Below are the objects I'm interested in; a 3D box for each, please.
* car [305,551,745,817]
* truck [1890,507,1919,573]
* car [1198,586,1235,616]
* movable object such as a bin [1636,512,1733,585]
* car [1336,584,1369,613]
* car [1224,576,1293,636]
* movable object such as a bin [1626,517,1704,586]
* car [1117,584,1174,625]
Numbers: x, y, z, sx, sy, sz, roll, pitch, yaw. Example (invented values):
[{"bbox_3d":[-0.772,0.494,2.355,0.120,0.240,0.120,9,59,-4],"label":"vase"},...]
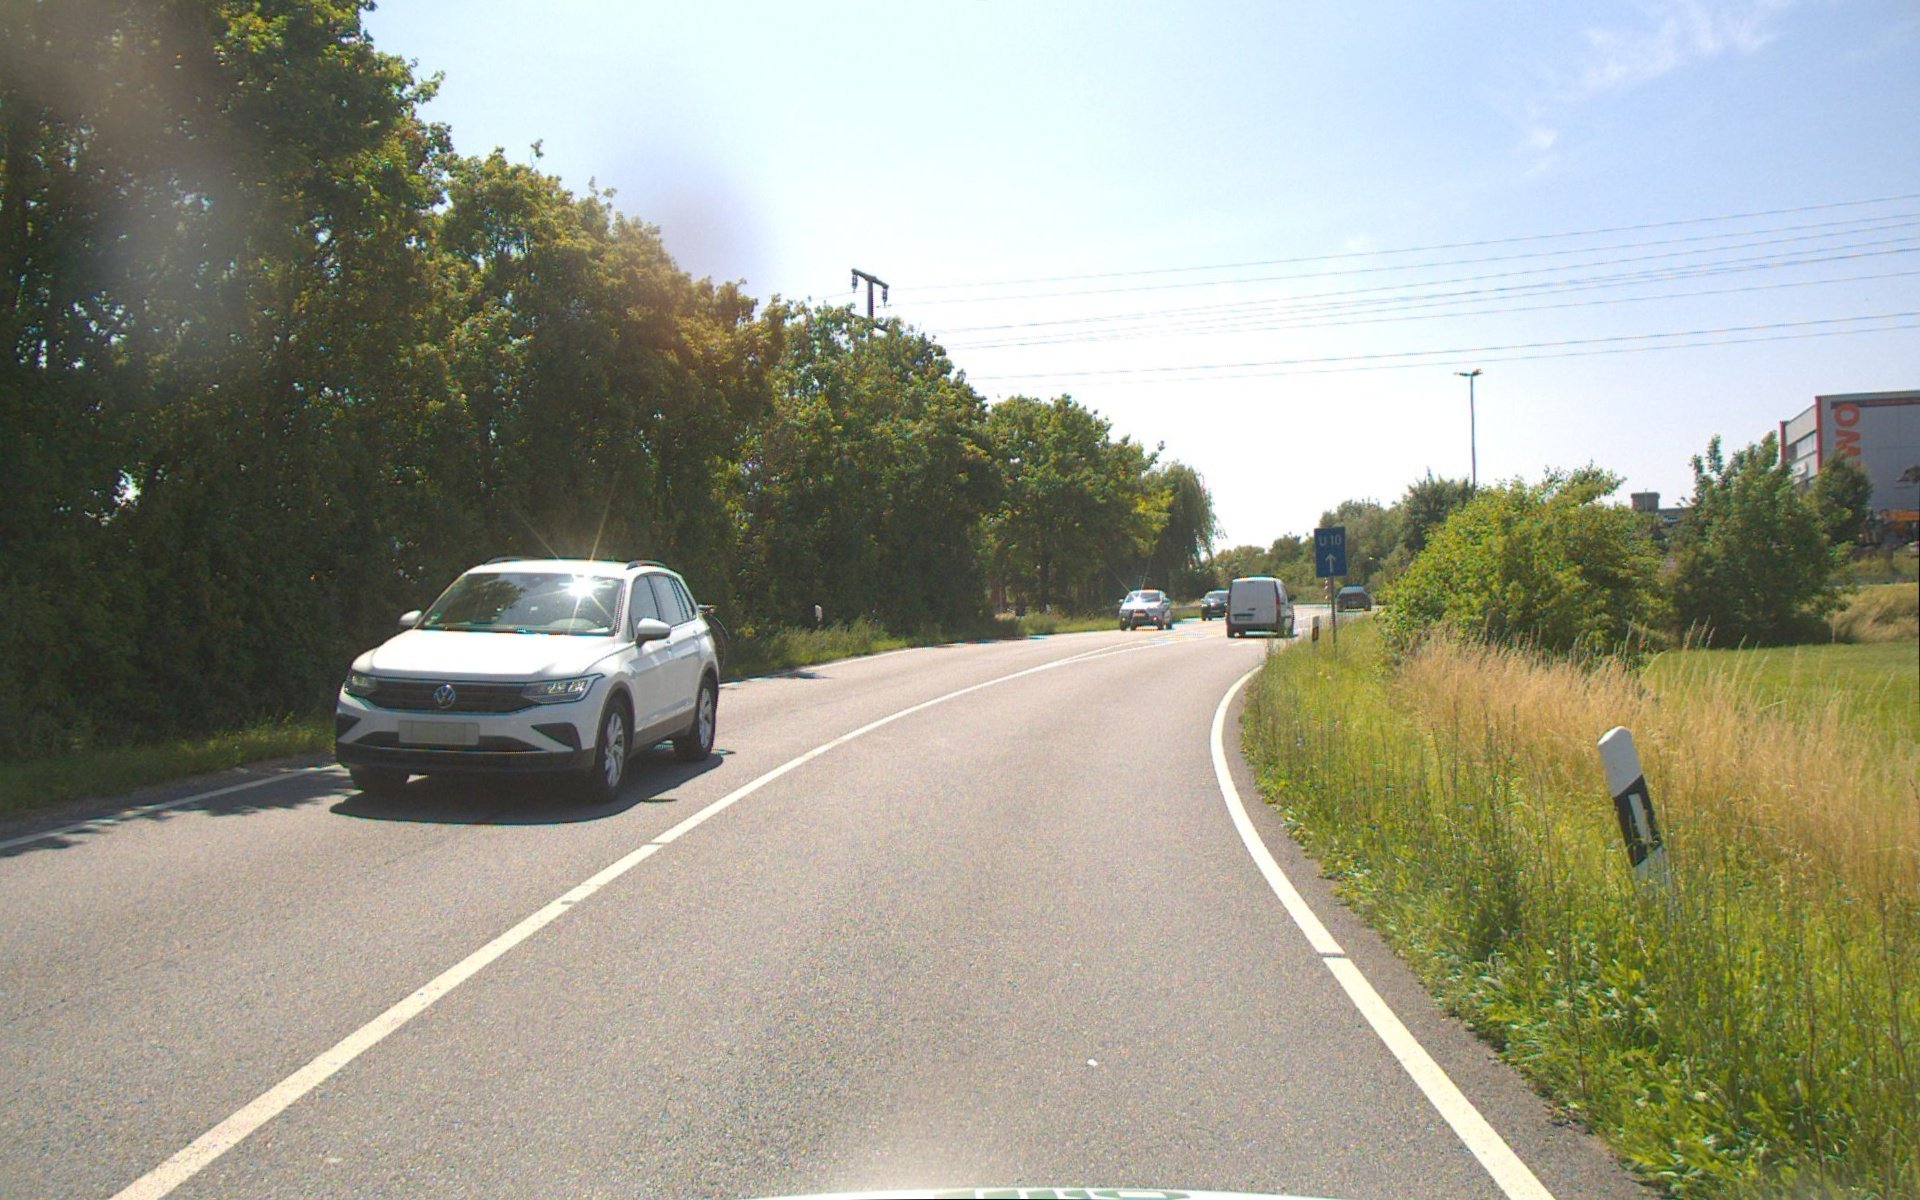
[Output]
[{"bbox_3d":[-3.055,0.516,12.800,1.816,1.629,4.780,1,0,4],"label":"car"},{"bbox_3d":[53.233,-3.069,85.397,8.590,3.192,3.109,0,-2,4],"label":"truck"},{"bbox_3d":[14.092,0.053,90.804,1.695,1.618,3.961,0,0,13],"label":"car"},{"bbox_3d":[55.052,-3.839,125.872,6.453,5.238,3.807,0,-2,19],"label":"movable object such as a bin"},{"bbox_3d":[23.923,-0.116,100.768,1.767,1.583,4.004,-2,1,15],"label":"car"},{"bbox_3d":[9.213,0.190,50.921,1.863,1.763,3.825,-1,-1,13],"label":"car"},{"bbox_3d":[57.309,-3.894,134.555,5.597,5.362,3.222,0,-2,19],"label":"movable object such as a bin"},{"bbox_3d":[7.560,0.171,67.233,1.704,1.617,4.003,1,0,15],"label":"car"}]
